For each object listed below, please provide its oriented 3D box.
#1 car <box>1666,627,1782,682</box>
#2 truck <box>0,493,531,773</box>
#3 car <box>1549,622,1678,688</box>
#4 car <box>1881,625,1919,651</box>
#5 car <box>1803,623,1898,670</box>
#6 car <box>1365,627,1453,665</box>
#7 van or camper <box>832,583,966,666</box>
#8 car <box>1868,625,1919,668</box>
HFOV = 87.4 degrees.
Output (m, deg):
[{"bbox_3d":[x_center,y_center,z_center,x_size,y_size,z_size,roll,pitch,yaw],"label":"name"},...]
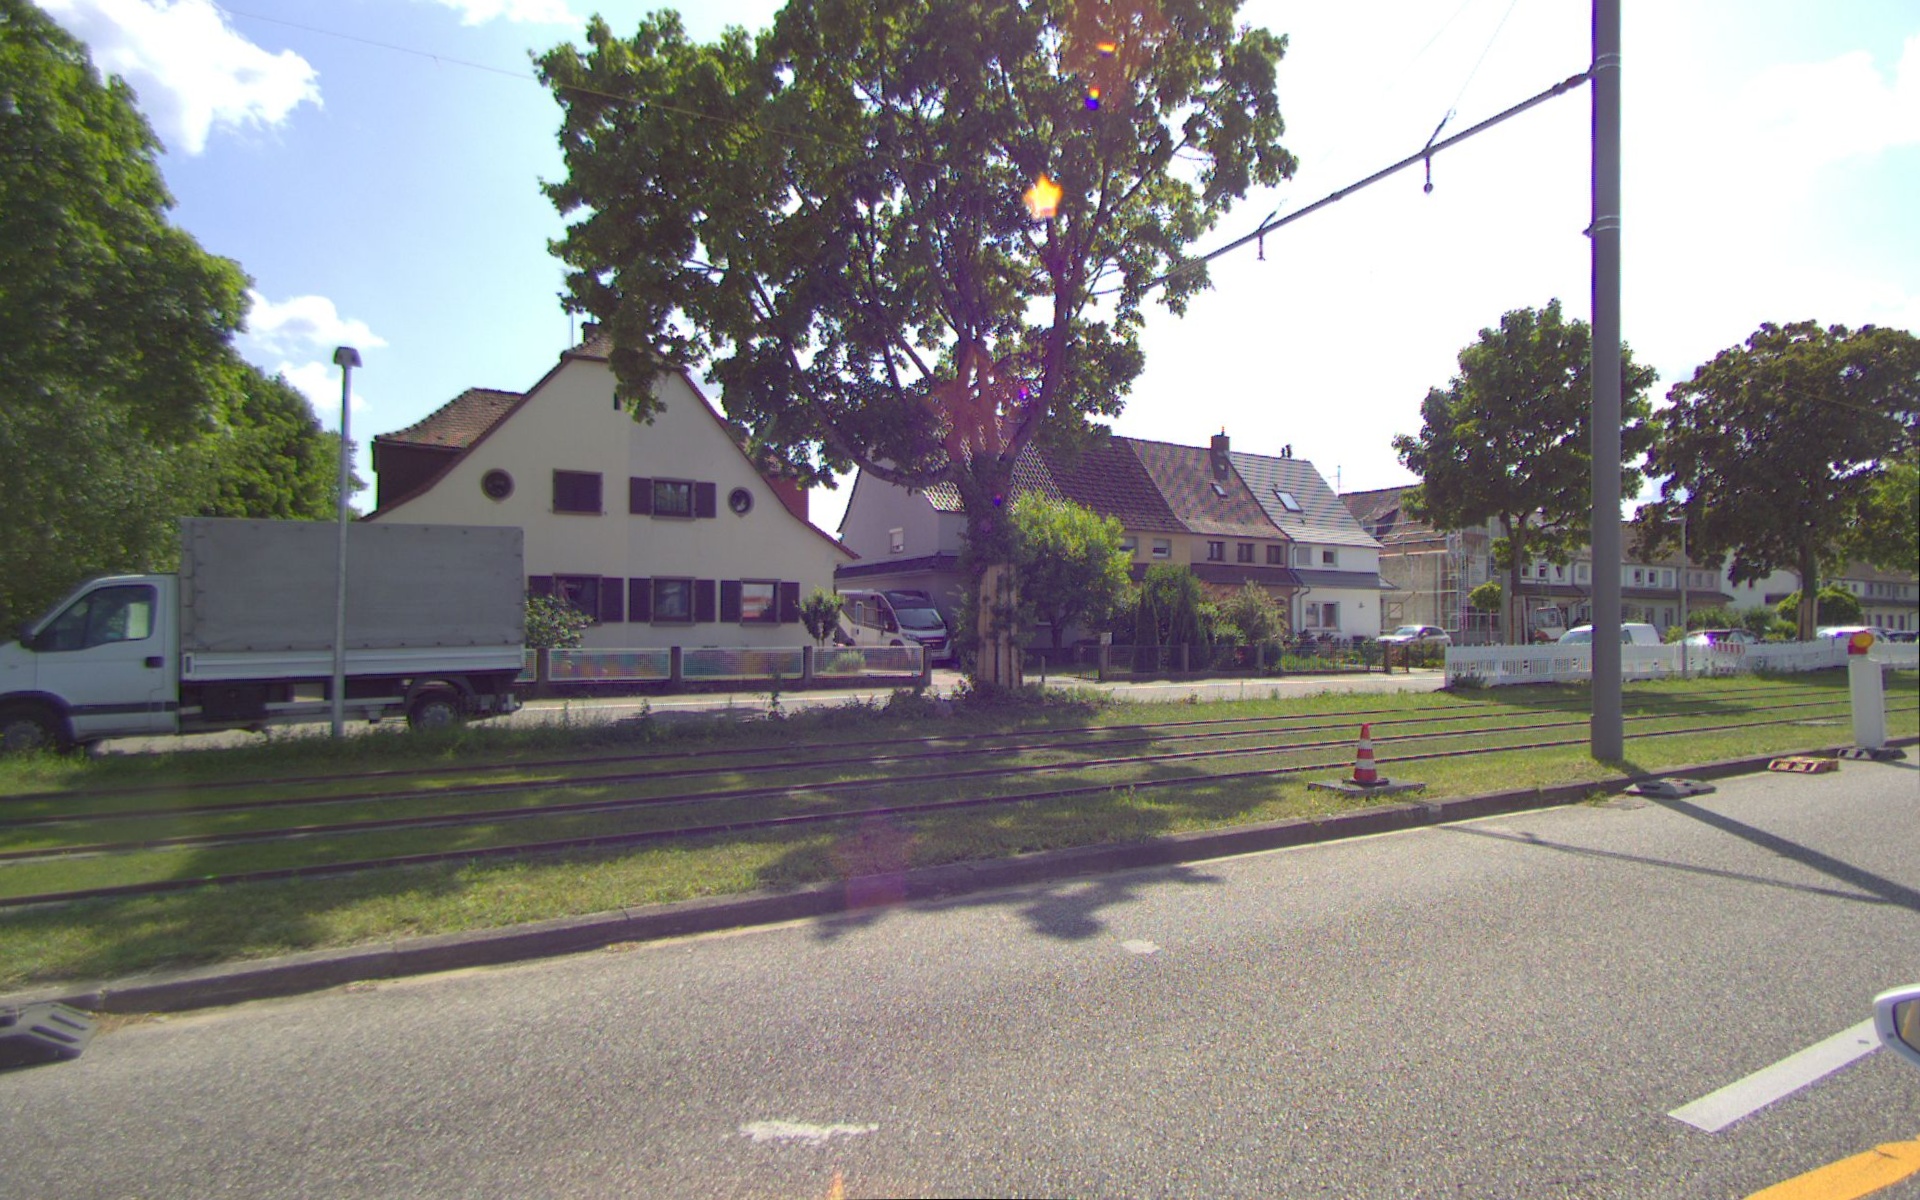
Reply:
[{"bbox_3d":[25.750,1.799,33.832,4.006,1.762,1.691,1,-2,-30],"label":"car"},{"bbox_3d":[-8.794,0.415,12.940,5.805,3.027,1.994,1,-2,-30],"label":"truck"},{"bbox_3d":[19.505,1.605,29.965,3.814,1.841,1.691,1,-2,-30],"label":"car"},{"bbox_3d":[66.861,2.683,70.796,4.013,1.762,1.691,1,-2,-30],"label":"car"},{"bbox_3d":[34.964,1.803,39.427,3.814,1.762,1.691,1,-2,-30],"label":"car"},{"bbox_3d":[19.893,1.994,44.485,3.814,1.614,1.691,1,-2,-30],"label":"car"},{"bbox_3d":[-2.347,0.908,36.656,2.224,2.745,5.963,1,-2,-33],"label":"van or camper"},{"bbox_3d":[40.393,1.960,42.605,3.814,1.762,1.691,1,-2,-30],"label":"car"}]
